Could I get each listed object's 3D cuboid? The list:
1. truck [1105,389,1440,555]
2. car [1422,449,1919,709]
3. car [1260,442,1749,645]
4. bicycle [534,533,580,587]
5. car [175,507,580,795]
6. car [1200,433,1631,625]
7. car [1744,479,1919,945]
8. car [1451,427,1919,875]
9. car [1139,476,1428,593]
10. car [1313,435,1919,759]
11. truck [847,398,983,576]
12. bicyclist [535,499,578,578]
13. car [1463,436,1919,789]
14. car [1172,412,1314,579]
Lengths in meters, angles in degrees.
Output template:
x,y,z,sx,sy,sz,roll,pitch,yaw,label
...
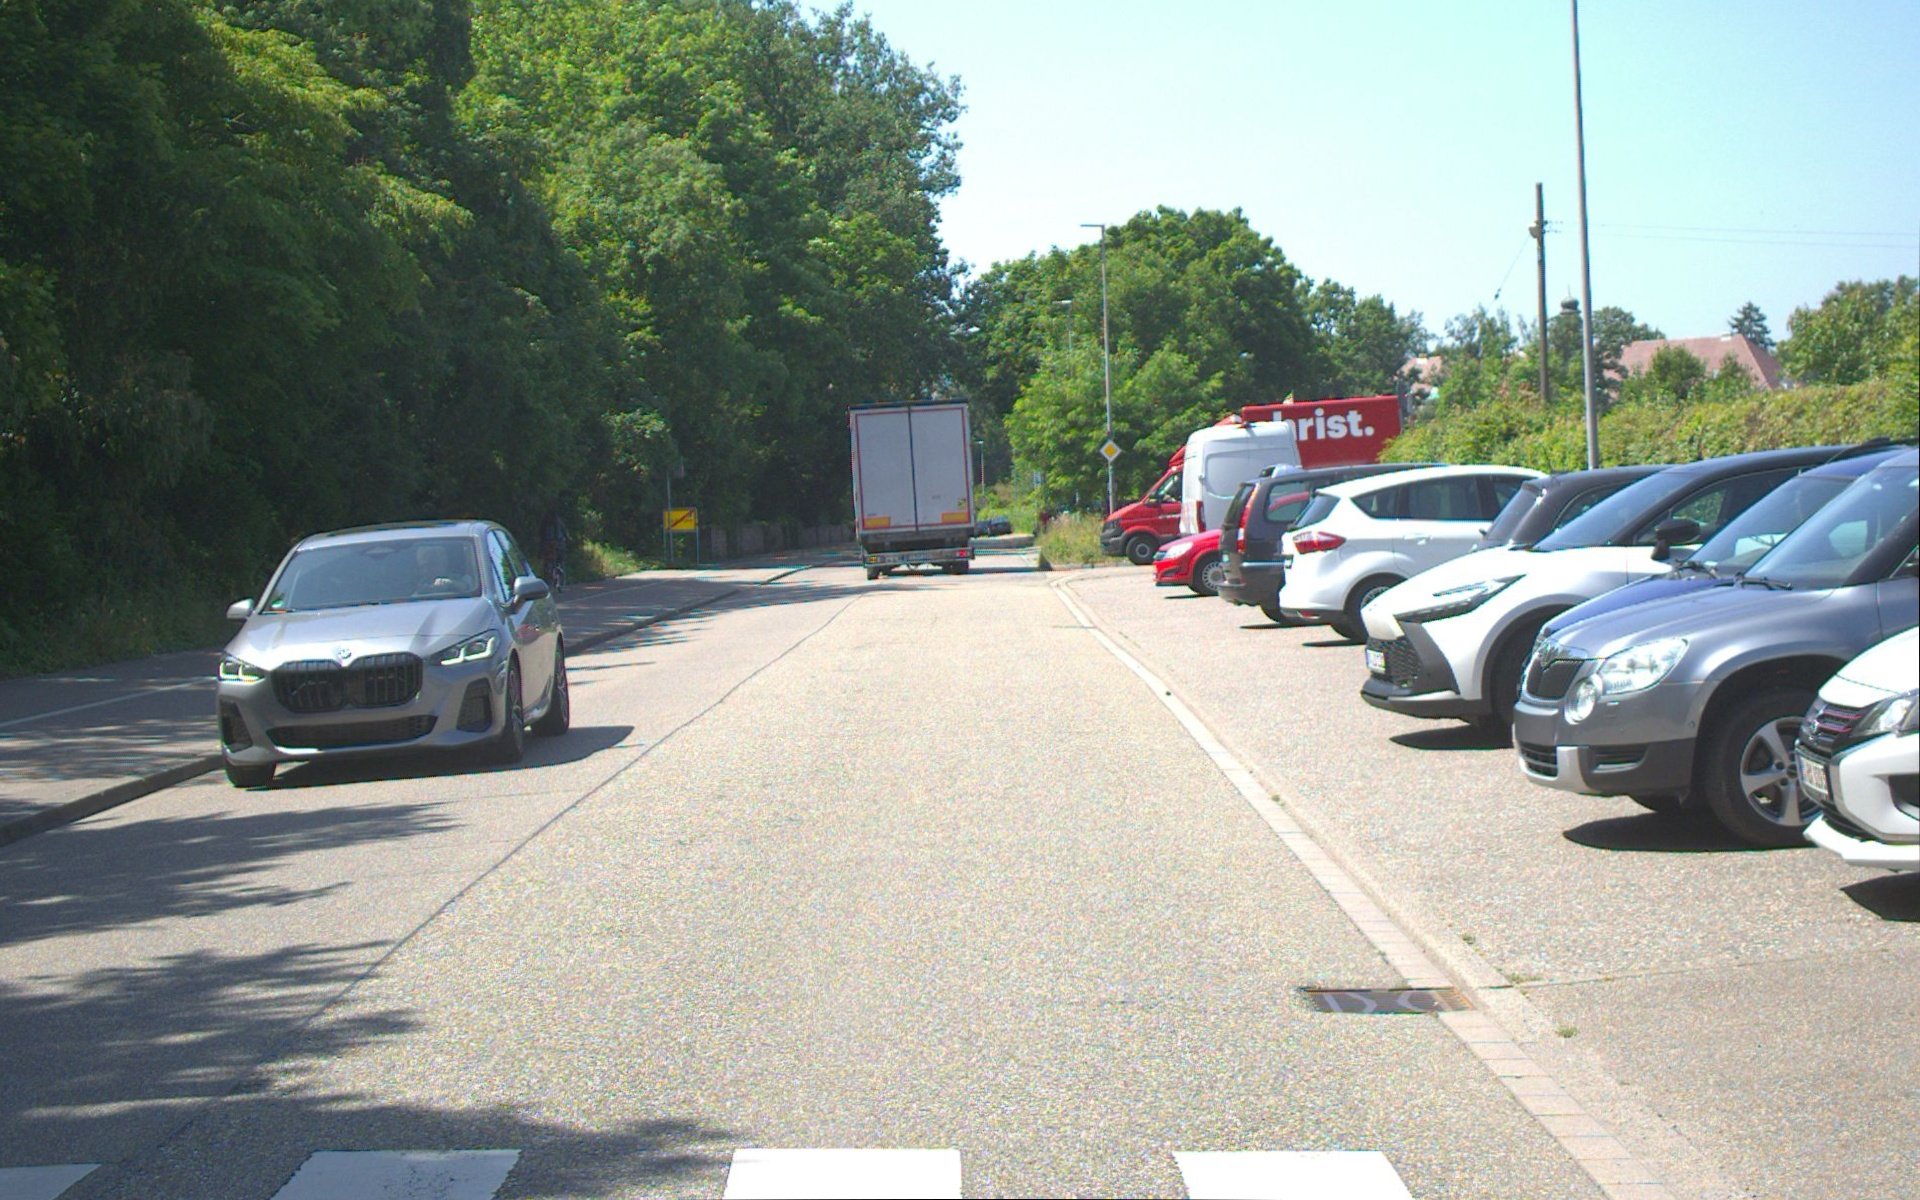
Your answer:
x,y,z,sx,sy,sz,roll,pitch,yaw,label
6.984,-2.848,76.518,7.140,3.428,2.329,-1,2,11,truck
4.968,-0.171,23.493,3.388,1.498,1.588,-4,2,4,car
5.161,-0.554,32.939,4.276,1.572,1.766,-4,2,-2,car
-8.136,-0.818,69.452,0.561,1.023,1.839,-2,2,4,bicycle
-3.703,0.248,22.615,1.891,1.527,4.197,-6,2,-1,car
5.139,-0.805,39.148,4.452,1.798,1.953,-4,1,-4,car
4.743,0.197,11.794,3.690,1.445,1.610,-5,2,4,car
4.304,0.071,14.703,3.960,1.634,1.664,-6,2,-5,car
4.860,-1.001,52.012,4.053,1.429,1.836,-4,2,-2,car
4.300,-0.074,20.500,3.962,1.517,1.865,-6,2,-5,car
-0.910,-2.584,79.753,2.733,3.733,13.246,-1,2,1,truck
-8.150,-1.251,69.455,0.648,1.559,0.837,-2,1,4,bicyclist
4.518,-0.024,17.632,3.452,1.522,1.540,-6,2,-5,car
5.074,-1.918,62.529,1.954,2.724,7.168,-4,2,1,car
